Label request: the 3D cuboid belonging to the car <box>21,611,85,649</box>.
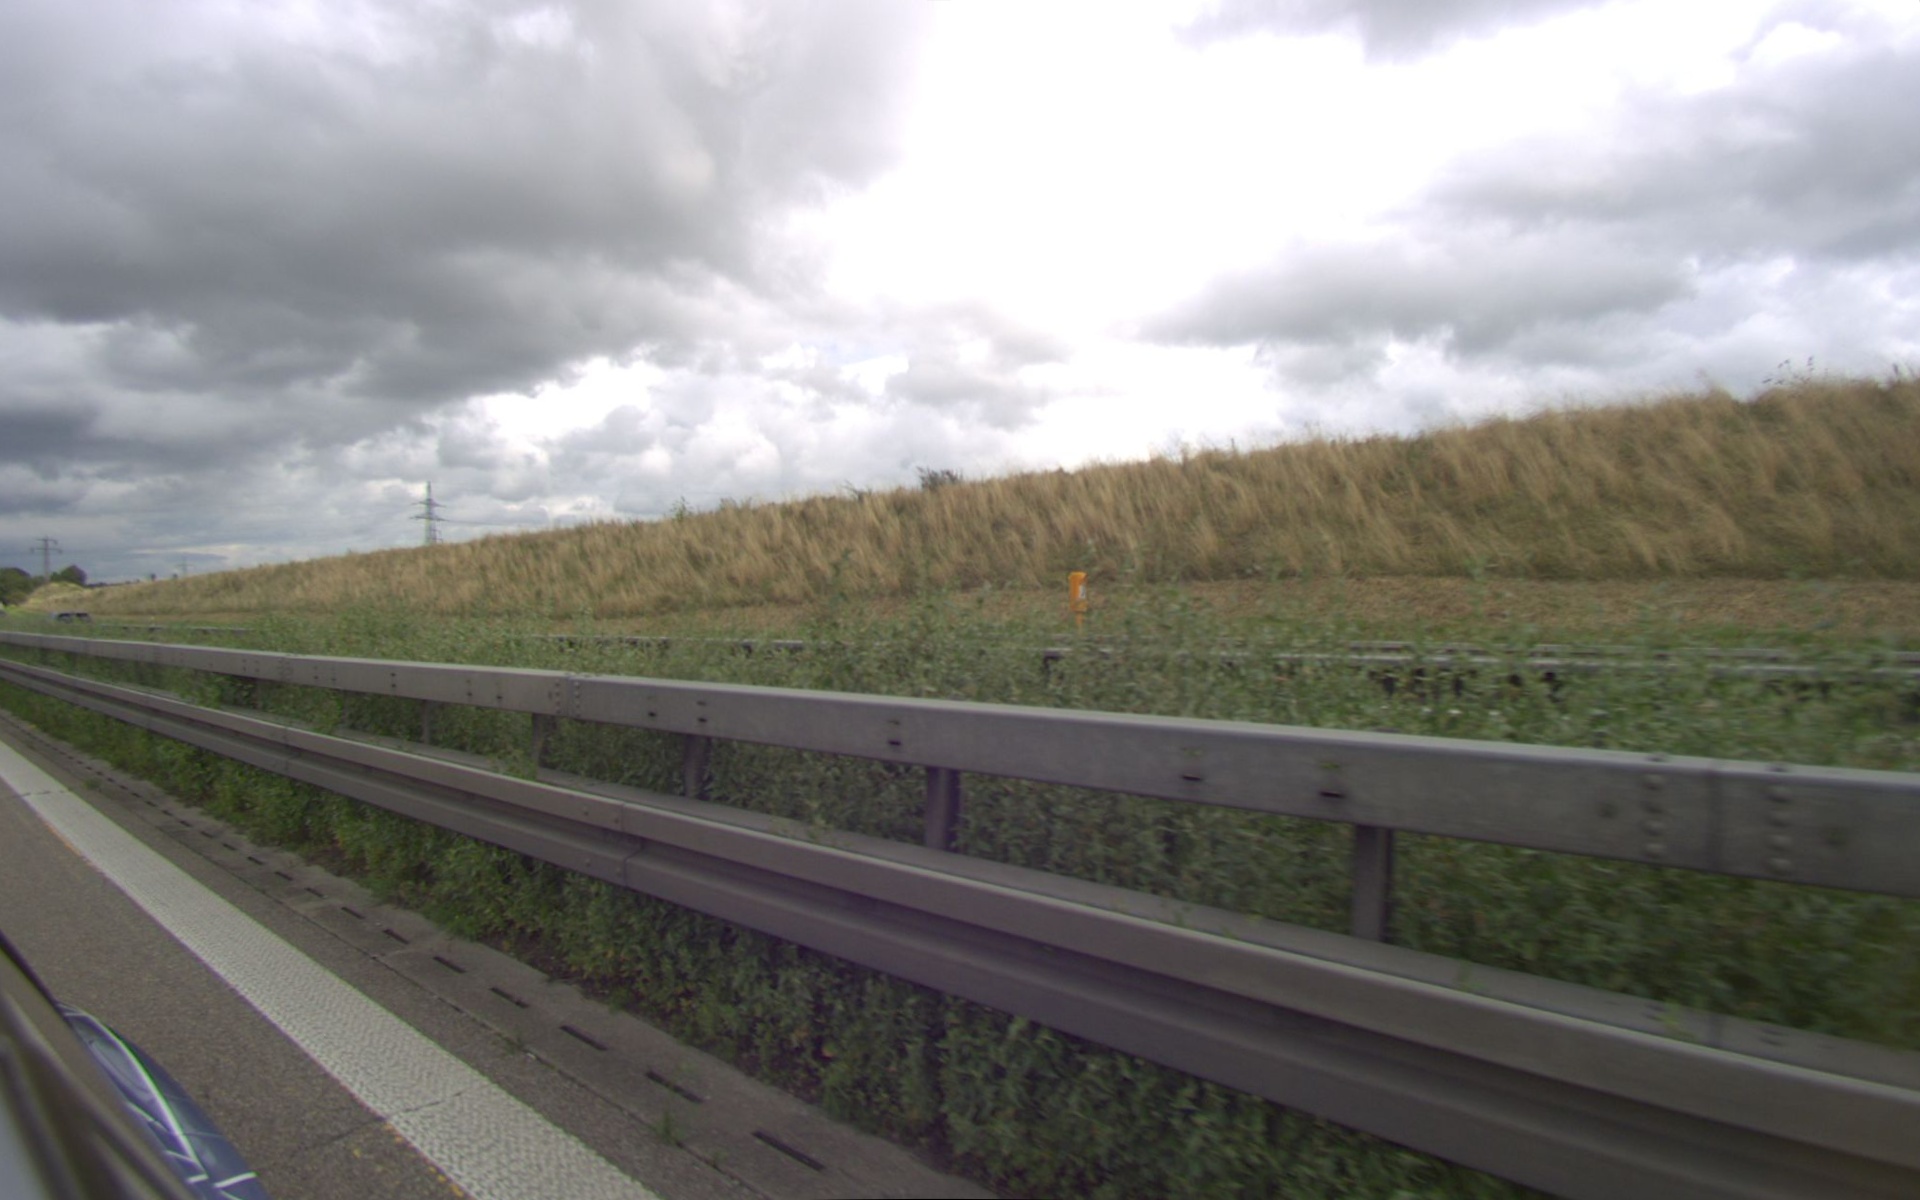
[{"bbox_3d":[-41.690,1.346,46.482,3.998,1.602,1.719,0,1,41],"label":"car"}]
